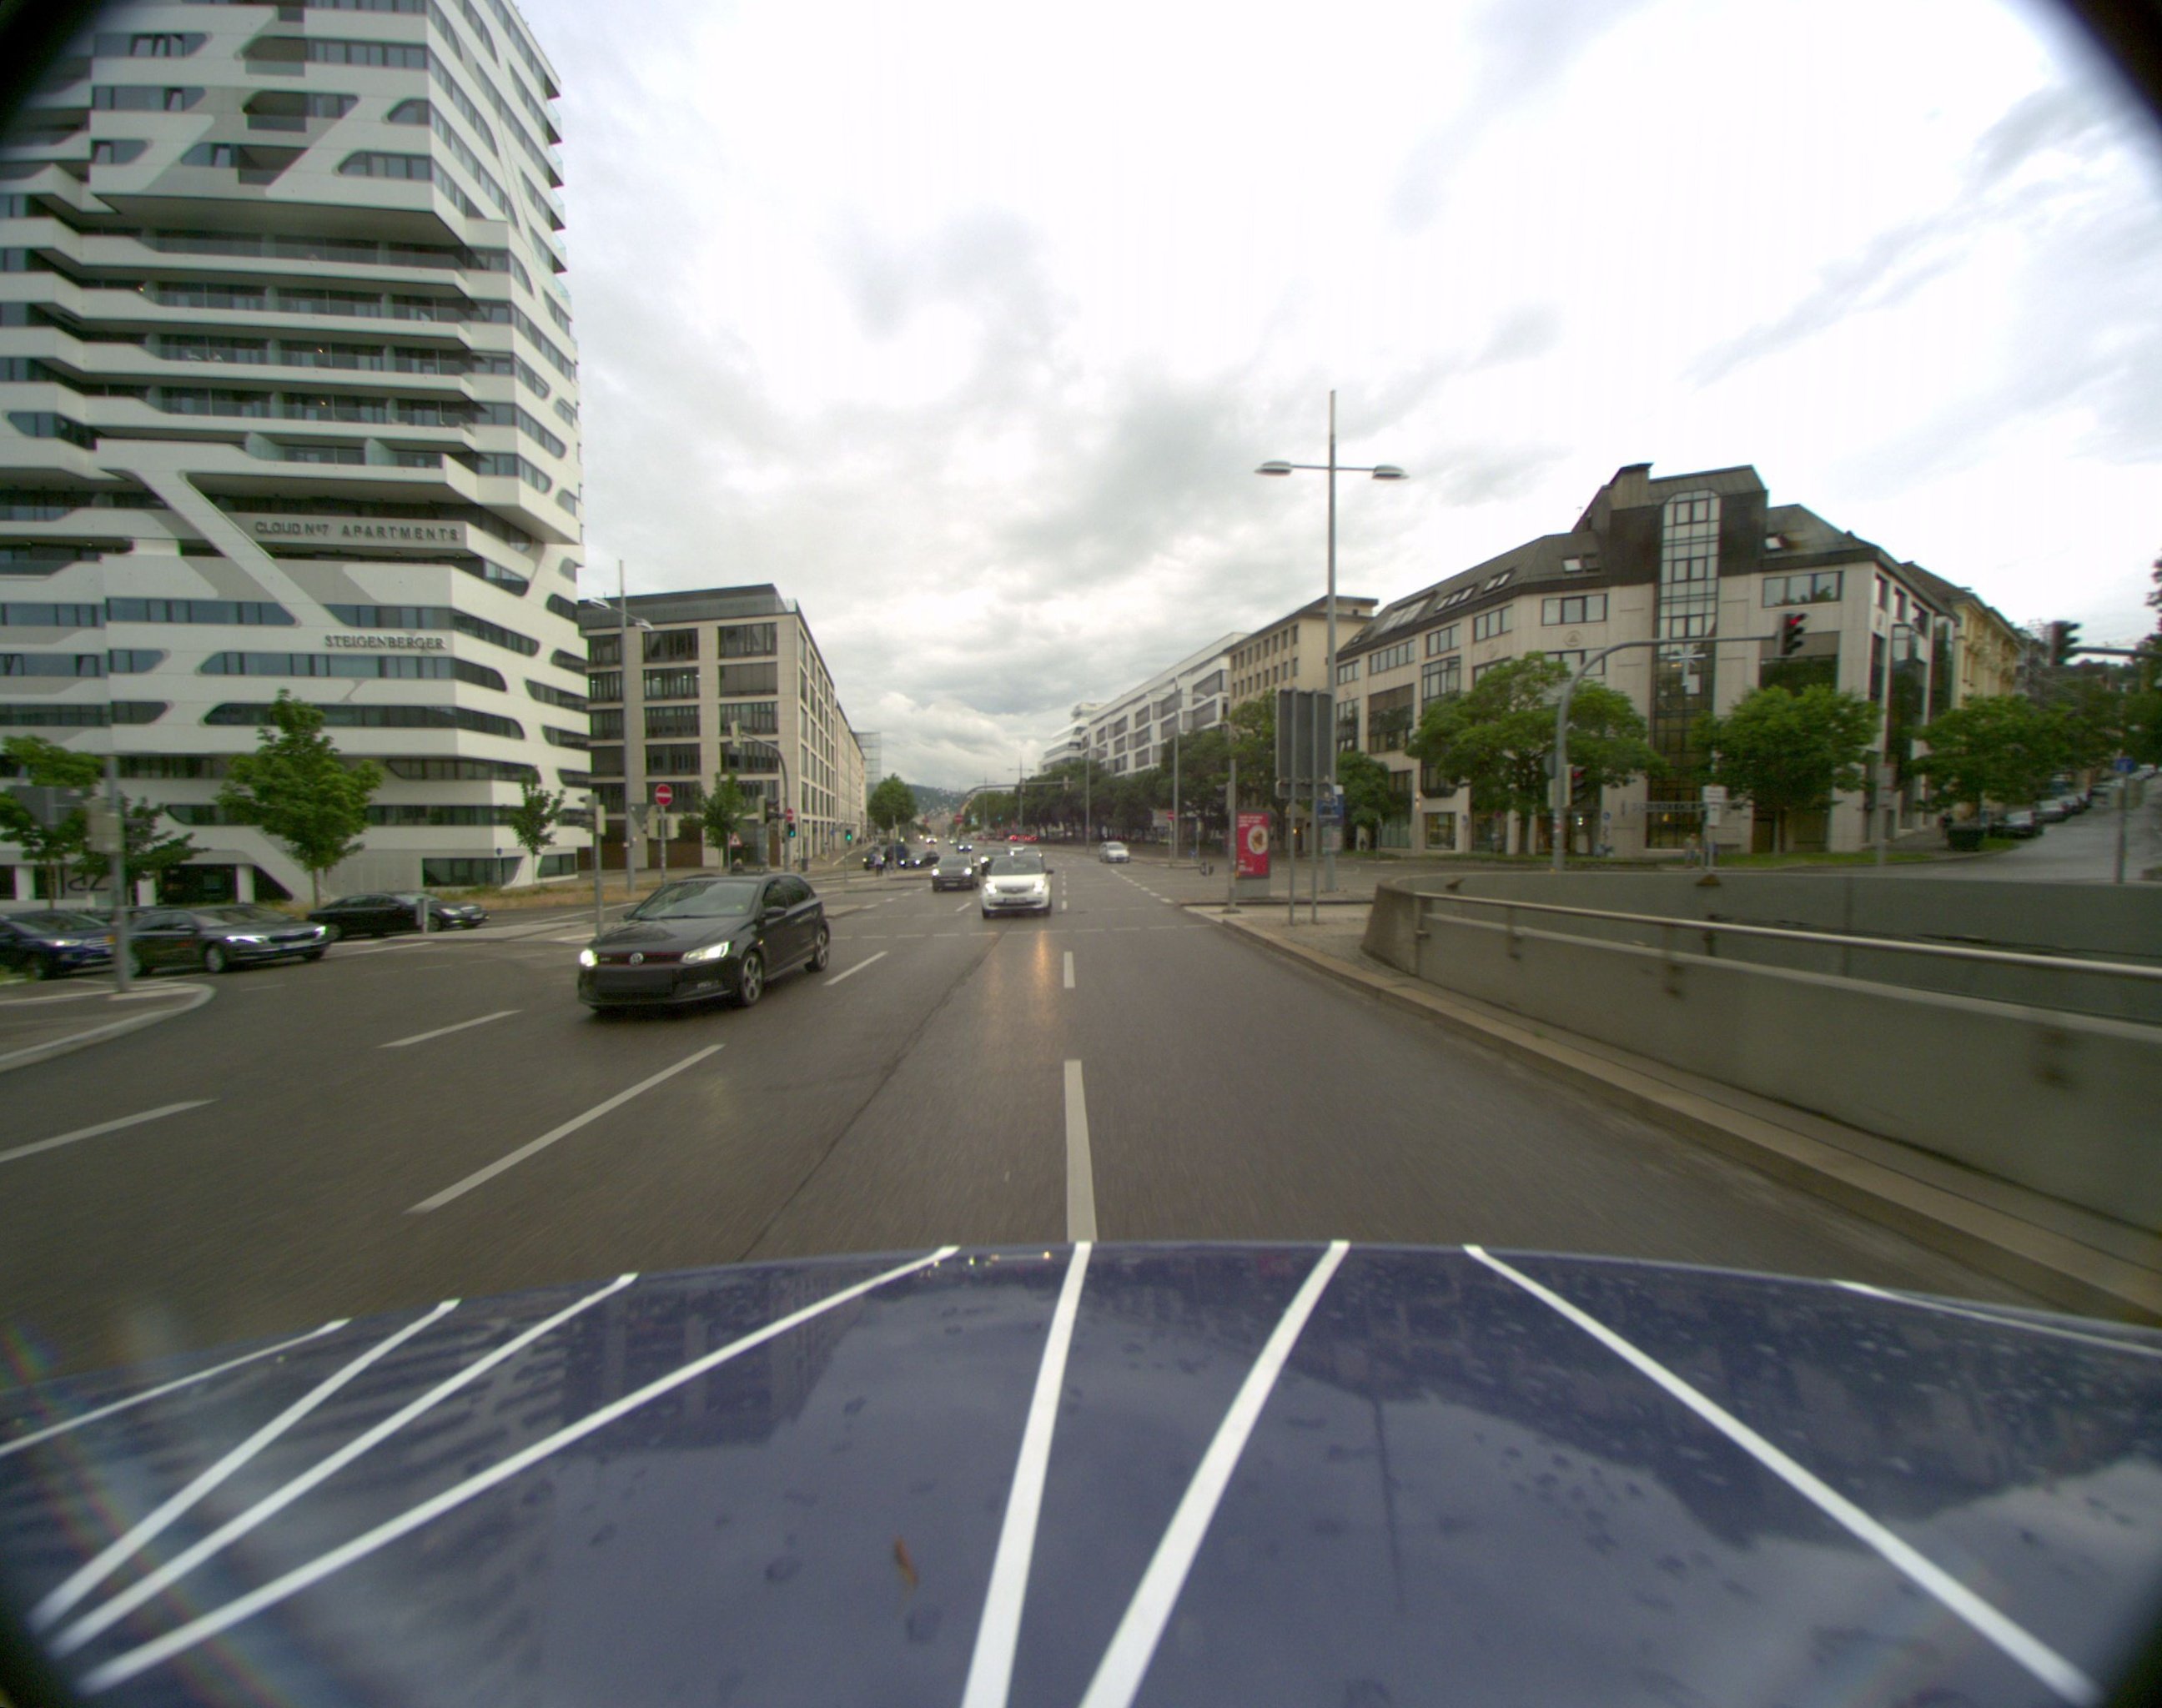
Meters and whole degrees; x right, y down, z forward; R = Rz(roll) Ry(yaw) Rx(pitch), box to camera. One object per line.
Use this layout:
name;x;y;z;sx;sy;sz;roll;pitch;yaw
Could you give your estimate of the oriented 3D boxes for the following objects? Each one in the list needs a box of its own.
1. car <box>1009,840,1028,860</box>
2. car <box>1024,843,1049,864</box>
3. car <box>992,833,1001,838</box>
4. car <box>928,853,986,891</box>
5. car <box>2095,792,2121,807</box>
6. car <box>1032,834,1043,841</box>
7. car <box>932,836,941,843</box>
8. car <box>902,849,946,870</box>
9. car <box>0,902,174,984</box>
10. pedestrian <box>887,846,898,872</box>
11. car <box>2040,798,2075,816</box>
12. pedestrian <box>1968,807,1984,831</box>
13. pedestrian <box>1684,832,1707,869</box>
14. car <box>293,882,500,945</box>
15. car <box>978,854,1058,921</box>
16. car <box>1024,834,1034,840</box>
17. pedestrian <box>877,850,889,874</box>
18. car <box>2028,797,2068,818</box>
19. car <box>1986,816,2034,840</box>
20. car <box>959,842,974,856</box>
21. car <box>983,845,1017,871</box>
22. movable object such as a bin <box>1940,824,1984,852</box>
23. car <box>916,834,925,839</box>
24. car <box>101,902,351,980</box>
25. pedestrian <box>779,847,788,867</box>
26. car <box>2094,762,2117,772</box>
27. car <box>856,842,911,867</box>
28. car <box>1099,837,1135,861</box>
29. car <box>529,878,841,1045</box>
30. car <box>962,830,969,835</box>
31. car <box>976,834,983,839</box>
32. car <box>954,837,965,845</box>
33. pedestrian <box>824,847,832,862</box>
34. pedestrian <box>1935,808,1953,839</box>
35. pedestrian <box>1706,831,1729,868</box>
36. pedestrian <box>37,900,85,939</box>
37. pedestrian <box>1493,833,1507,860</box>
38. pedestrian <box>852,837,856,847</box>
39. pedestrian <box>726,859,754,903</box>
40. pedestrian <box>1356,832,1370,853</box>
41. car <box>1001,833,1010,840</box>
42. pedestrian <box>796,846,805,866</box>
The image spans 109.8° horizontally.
car;-6.831;-0.478;83.967;1.799;2.021;3.998;-2;1;-1
car;-3.834;-0.066;65.941;1.799;1.657;3.999;-2;1;1
car;-24.262;-5.313;218.057;1.801;1.502;3.995;-2;1;-13
car;-5.217;0.718;32.317;1.751;1.433;3.706;-2;1;1
car;119.055;-6.303;88.104;4.007;1.502;1.795;-3;1;-36
car;-9.702;-3.703;170.537;1.801;1.502;3.995;-2;1;-13
car;-31.399;-3.099;164.936;1.801;1.502;3.995;-2;1;-13
car;-12.476;0.401;60.515;1.797;1.502;4.003;-2;1;14
car;-25.770;2.238;18.864;4.480;1.658;1.857;-4;1;6
pedestrian;-13.368;0.347;53.948;0.604;1.792;0.587;-2;2;-9
car;85.266;-4.104;66.328;4.007;1.502;1.795;-3;1;-36
pedestrian;63.691;-2.484;54.071;0.651;1.652;0.648;-3;2;-28
pedestrian;30.874;-0.192;38.172;0.590;1.799;0.674;-2;2;5
car;-21.059;1.803;23.541;4.483;1.383;1.855;-4;3;-3
car;-1.559;0.801;20.052;1.799;1.528;3.999;-1;1;-1
car;-12.444;-4.095;182.132;1.801;1.502;3.995;-2;1;-13
pedestrian;-12.290;0.486;47.139;0.588;1.469;0.603;-3;2;-22
car;75.467;-3.615;59.306;4.007;1.502;1.795;-3;1;-36
car;61.635;-1.752;50.384;3.497;1.454;1.606;-3;2;-32
car;-16.845;-0.722;111.860;1.801;1.934;3.995;-2;1;-13
car;-5.463;0.242;51.787;1.799;1.657;3.999;-2;1;1
movable object such as a bin;50.203;-0.911;43.334;1.352;1.499;1.071;-1;1;28
car;-48.291;-5.280;228.374;1.802;1.502;3.992;-3;1;-22
car;-19.379;1.957;17.273;4.477;1.382;1.858;-3;1;15
pedestrian;-24.549;0.248;62.723;0.588;1.600;0.603;-2;2;-15
car;173.088;-14.701;128.318;4.005;1.502;1.796;-3;1;-29
car;-16.127;0.035;62.221;1.795;1.851;4.299;-1;1;31
car;2.817;-0.391;60.252;1.801;1.733;3.995;-2;1;-13
car;-4.370;1.082;9.150;1.678;1.391;3.848;-1;1;0
car;-36.780;-6.851;242.589;1.801;1.502;3.995;-2;1;-13
car;-30.314;-5.240;226.717;1.801;1.502;3.995;-2;1;-13
car;-24.730;-2.548;154.301;1.801;1.502;3.995;-2;1;-13
pedestrian;-24.219;0.032;72.758;0.588;1.469;0.603;-3;2;-22
pedestrian;57.241;-2.030;50.403;0.749;2.002;0.754;-2;2;-36
pedestrian;31.712;-0.218;37.850;0.590;1.799;0.674;-2;2;5
pedestrian;-56.117;3.602;41.818;1.095;2.002;0.972;-2;2;-7
pedestrian;28.214;-0.508;51.129;0.604;1.774;0.525;-2;2;-9
pedestrian;-34.440;-1.792;115.227;0.588;1.469;0.603;-2;2;-14
pedestrian;-12.905;0.999;28.784;0.707;1.615;0.644;-2;2;1
pedestrian;24.000;-0.952;64.639;0.835;1.774;0.615;-2;2;-9
car;-19.428;-4.532;196.152;1.801;1.502;3.995;-2;1;-13
pedestrian;-23.222;0.185;62.819;0.588;1.600;0.603;-2;2;-15
